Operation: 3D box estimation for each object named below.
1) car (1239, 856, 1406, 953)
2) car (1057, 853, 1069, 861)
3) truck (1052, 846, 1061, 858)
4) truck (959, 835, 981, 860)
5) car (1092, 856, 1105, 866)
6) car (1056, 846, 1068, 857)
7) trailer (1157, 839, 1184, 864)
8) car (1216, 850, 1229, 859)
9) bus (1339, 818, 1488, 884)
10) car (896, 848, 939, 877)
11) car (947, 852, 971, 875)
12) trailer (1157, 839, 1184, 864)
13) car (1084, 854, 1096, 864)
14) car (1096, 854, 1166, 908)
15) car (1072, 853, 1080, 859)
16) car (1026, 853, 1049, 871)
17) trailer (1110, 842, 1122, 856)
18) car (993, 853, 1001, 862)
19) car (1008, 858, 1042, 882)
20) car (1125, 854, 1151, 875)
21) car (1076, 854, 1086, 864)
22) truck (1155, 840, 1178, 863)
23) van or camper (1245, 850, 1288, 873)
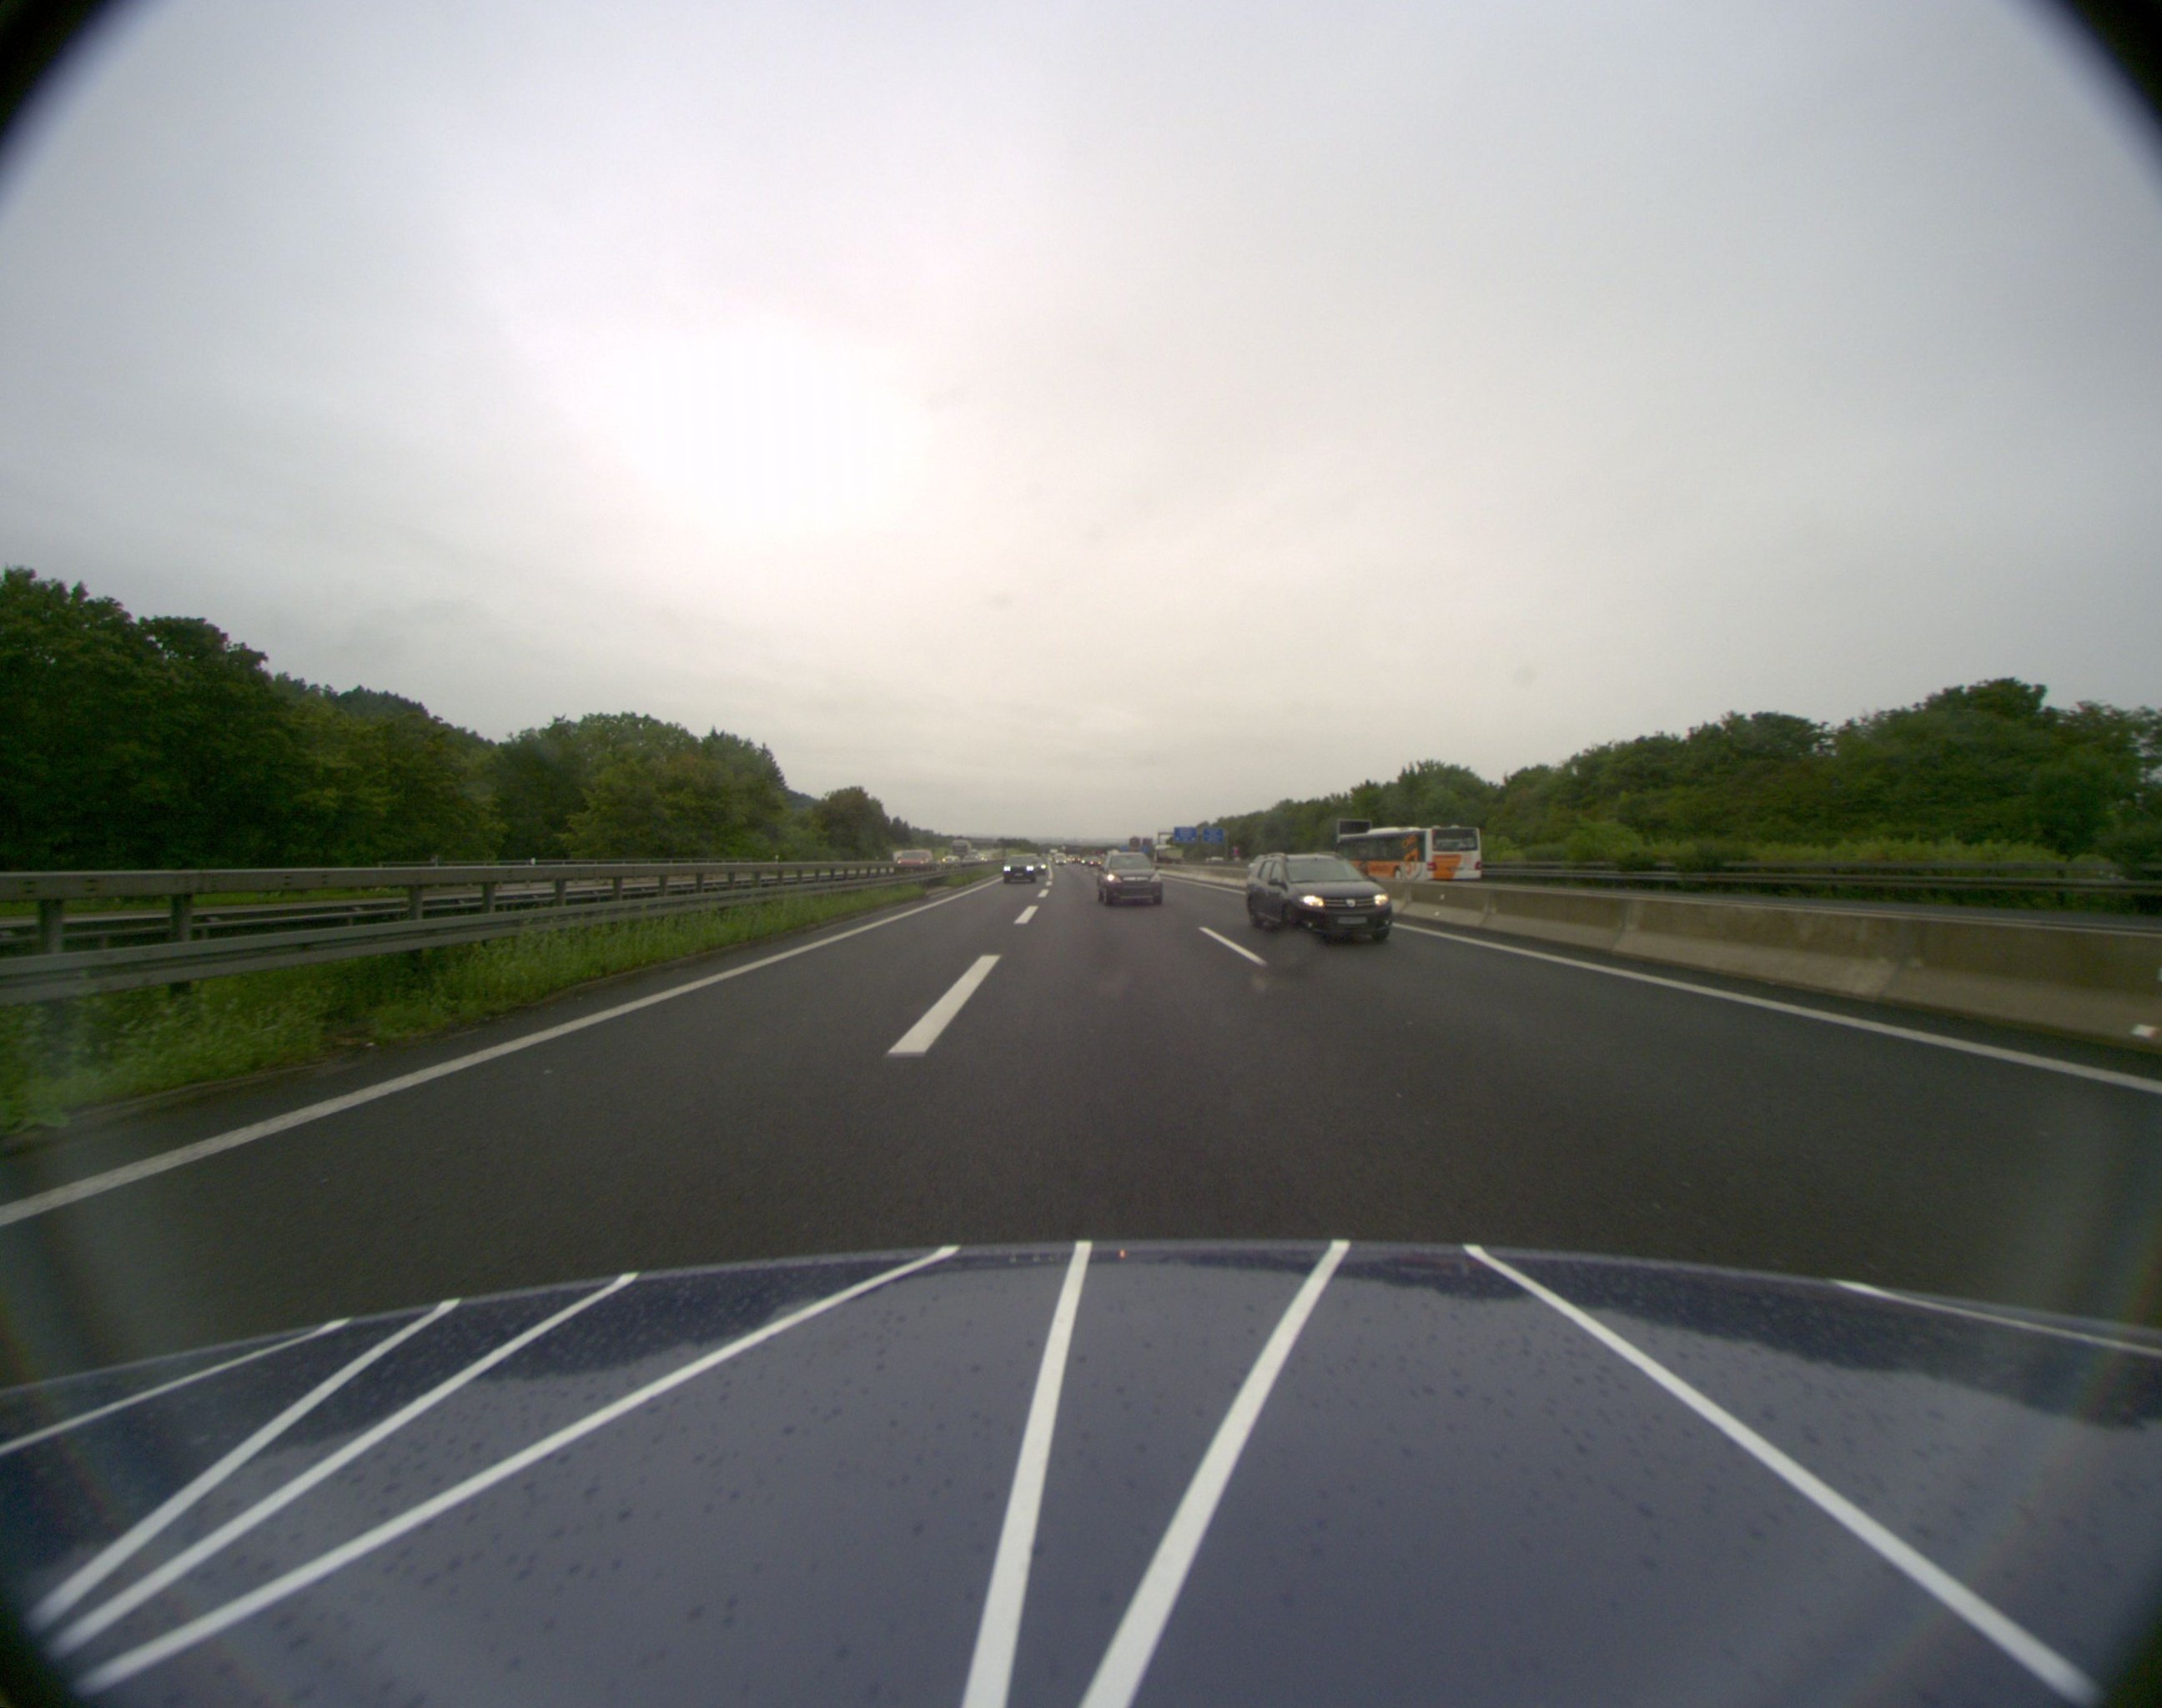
[{"bbox_3d":[4.315,0.805,14.357,1.726,1.481,4.566,-1,1,0],"label":"car"},{"bbox_3d":[-3.232,0.504,137.402,1.920,1.481,4.565,-1,1,-4],"label":"car"},{"bbox_3d":[-8.407,-0.747,259.340,2.799,3.878,10.026,-1,1,-1],"label":"truck"},{"bbox_3d":[-18.217,-1.125,125.245,2.799,3.878,10.024,-1,1,-3],"label":"truck"},{"bbox_3d":[2.557,0.956,111.748,1.726,1.397,4.565,-1,1,-2],"label":"car"},{"bbox_3d":[-3.590,-0.519,143.871,2.016,1.994,4.565,-1,1,-4],"label":"car"},{"bbox_3d":[13.944,-0.375,119.035,2.911,3.727,8.925,-1,1,-2],"label":"trailer"},{"bbox_3d":[28.421,0.100,153.035,1.805,1.776,4.411,0,0,0],"label":"car"},{"bbox_3d":[17.052,-0.183,40.292,2.705,2.941,11.896,0,1,0],"label":"bus"},{"bbox_3d":[-11.718,0.567,54.862,2.130,2.002,5.075,-1,1,-2],"label":"car"},{"bbox_3d":[-11.531,0.876,71.980,1.752,2.002,4.497,-1,1,-2],"label":"car"},{"bbox_3d":[13.944,-0.375,119.035,2.911,3.727,8.925,-1,1,-2],"label":"trailer"},{"bbox_3d":[1.600,0.841,133.457,1.782,1.669,4.565,-1,1,-2],"label":"car"},{"bbox_3d":[1.540,0.797,24.682,1.813,1.571,3.833,-1,1,-3],"label":"car"},{"bbox_3d":[-1.177,0.413,183.009,1.726,1.481,4.565,-1,1,-4],"label":"car"},{"bbox_3d":[-3.782,0.662,66.992,1.886,1.519,3.999,-1,1,-1],"label":"car"},{"bbox_3d":[10.176,-1.480,219.992,2.643,3.715,10.808,-1,1,-1],"label":"trailer"},{"bbox_3d":[-19.242,0.878,173.591,1.753,2.002,4.495,-1,1,-7],"label":"car"},{"bbox_3d":[-3.497,0.977,47.817,1.867,1.349,4.566,-1,1,-1],"label":"car"},{"bbox_3d":[4.411,0.769,59.118,1.726,1.481,4.566,-1,1,0],"label":"car"},{"bbox_3d":[-0.033,1.121,166.491,2.100,2.148,4.406,-1,1,0],"label":"car"},{"bbox_3d":[13.840,-0.418,123.558,2.895,3.727,5.943,-1,1,-2],"label":"truck"},{"bbox_3d":[12.581,0.492,51.705,1.752,1.439,4.585,-1,1,-1],"label":"van or camper"}]
